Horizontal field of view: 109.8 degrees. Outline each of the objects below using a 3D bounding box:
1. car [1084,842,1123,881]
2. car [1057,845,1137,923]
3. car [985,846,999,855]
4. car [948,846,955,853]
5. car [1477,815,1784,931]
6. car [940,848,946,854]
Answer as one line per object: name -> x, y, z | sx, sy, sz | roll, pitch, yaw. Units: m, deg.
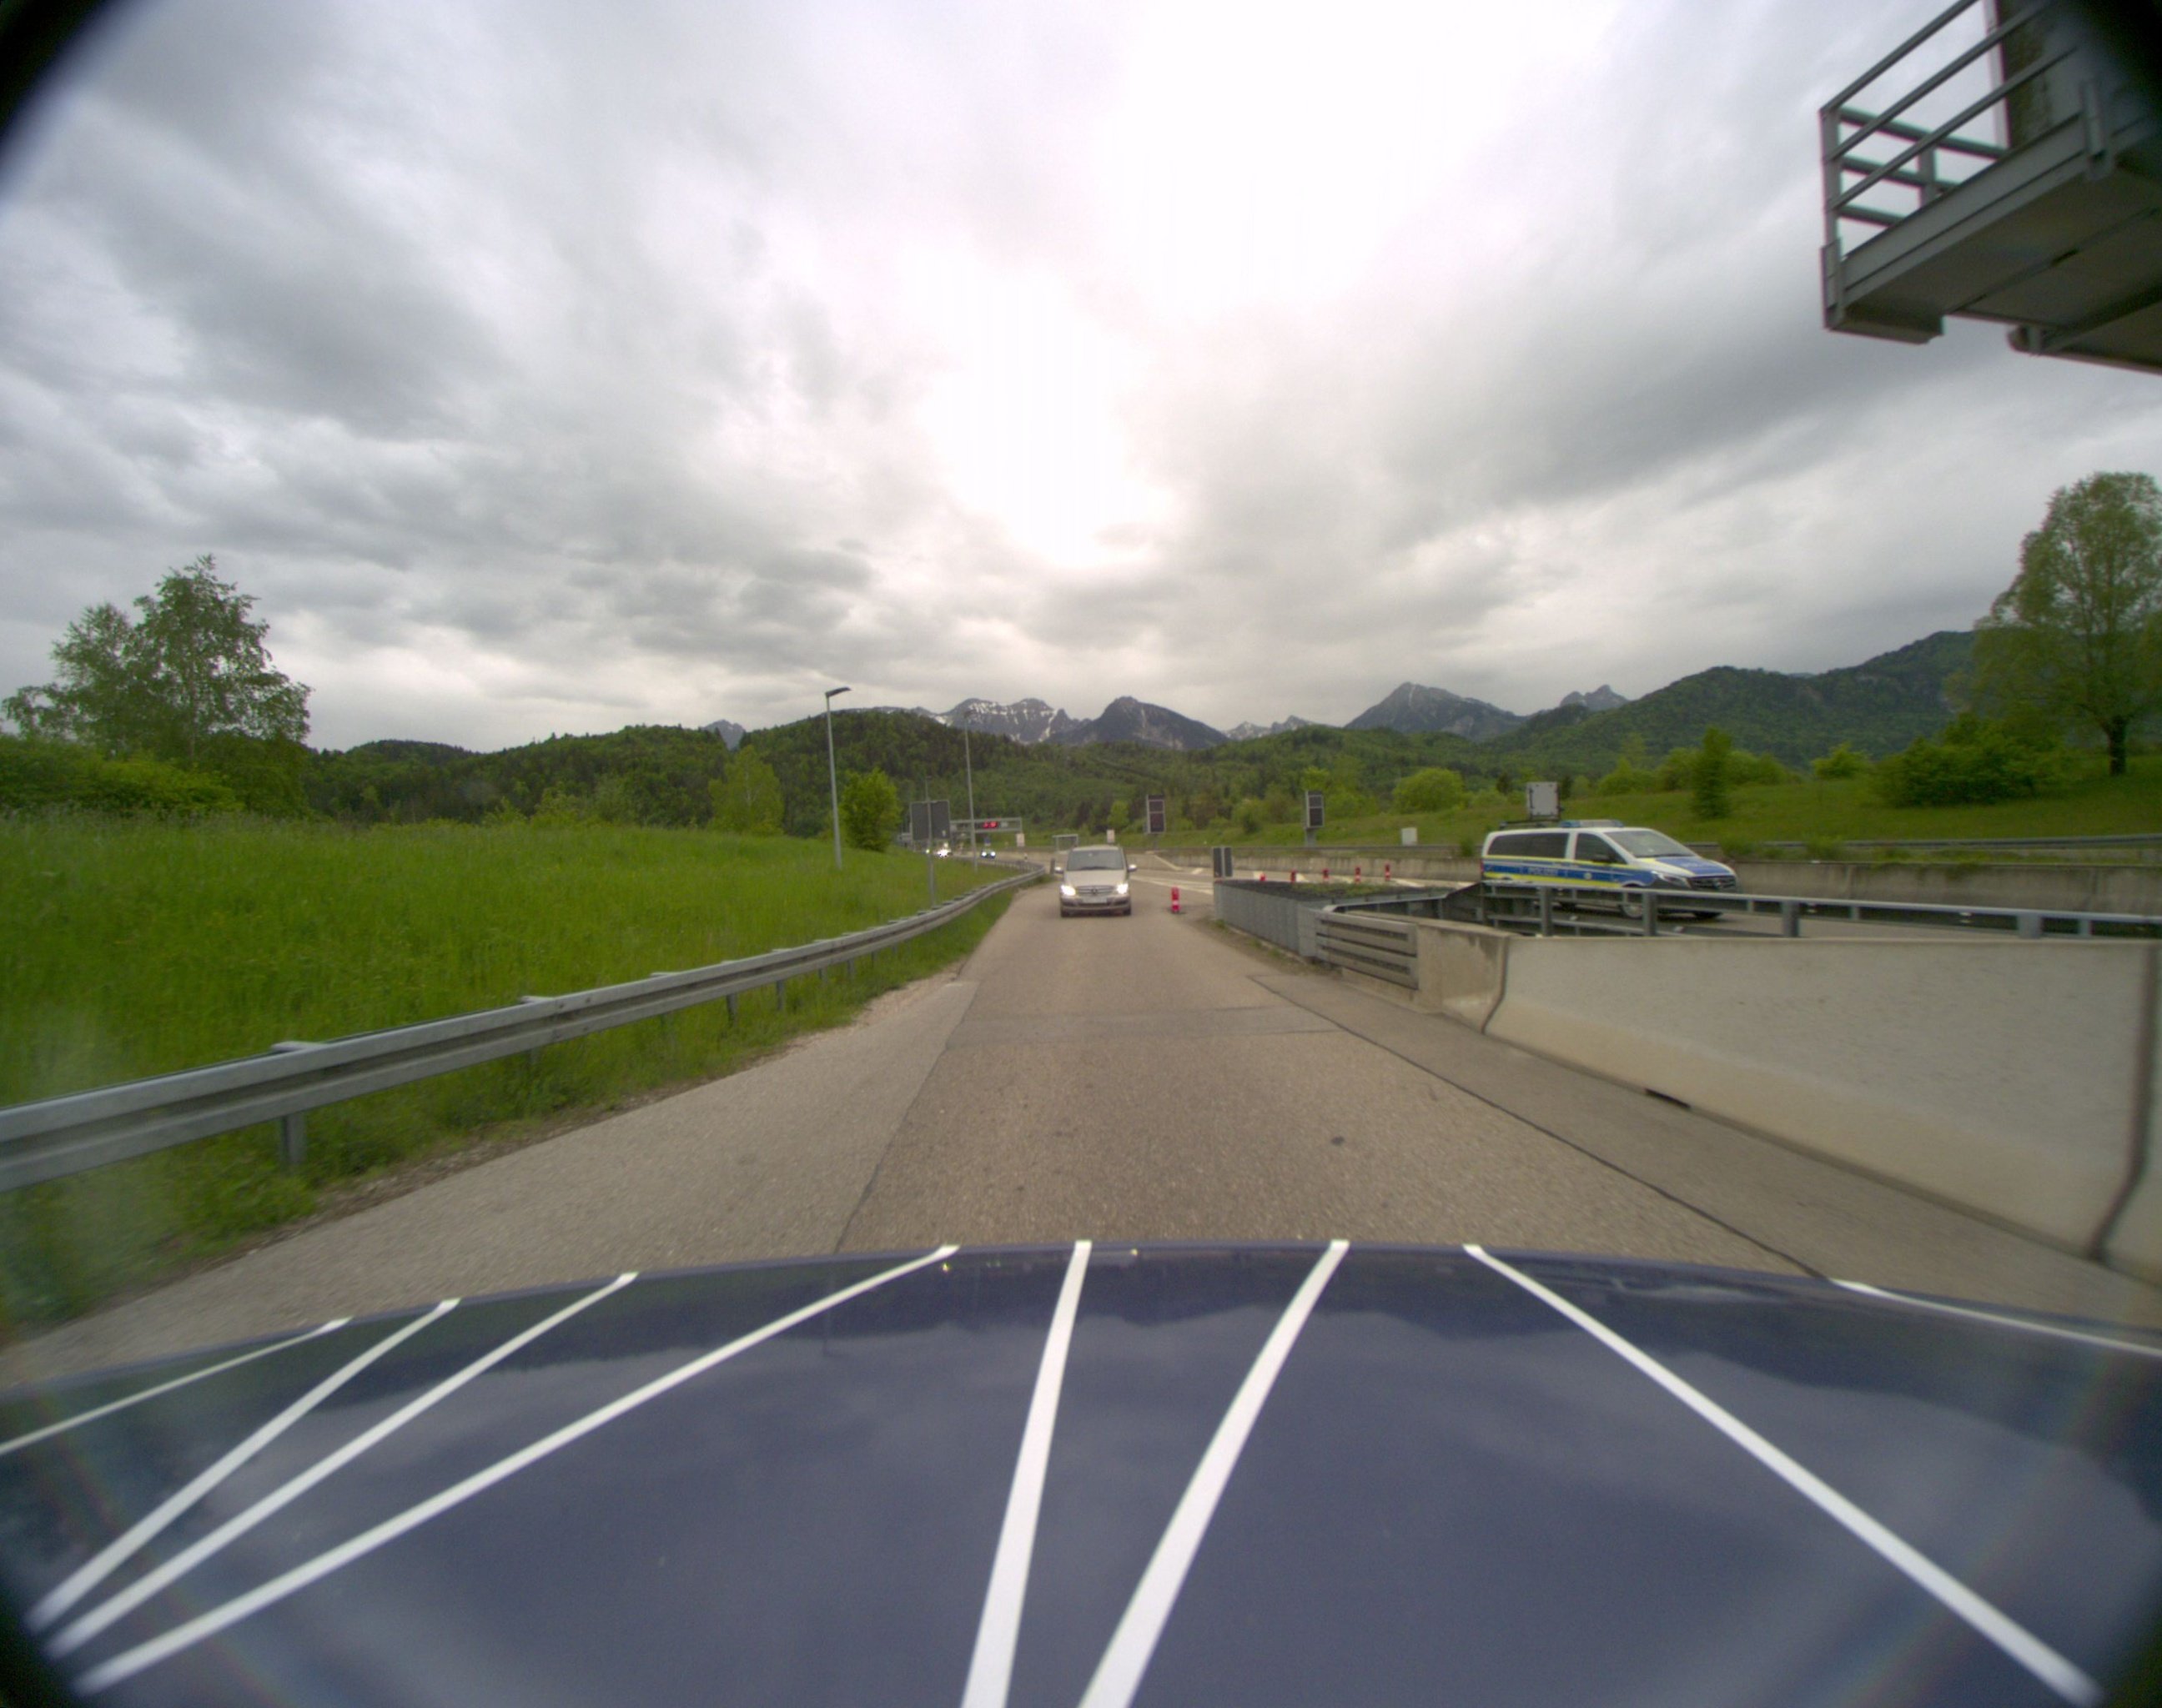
car -> 1.104, 0.347, 37.953 | 1.756, 1.795, 4.000 | -2, 1, 1
car -> 0.393, 0.704, 21.264 | 1.923, 1.871, 5.137 | -1, 1, 0
car -> -13.356, -0.507, 113.613 | 1.665, 1.329, 3.787 | -2, 1, -14
car -> -31.490, -1.089, 185.114 | 1.632, 1.688, 3.492 | -2, 1, -10
car -> 11.352, 0.296, 16.292 | 2.294, 2.002, 5.042 | -2, 1, -14
car -> -38.585, -0.756, 212.334 | 1.632, 1.688, 3.492 | -2, 1, -10
